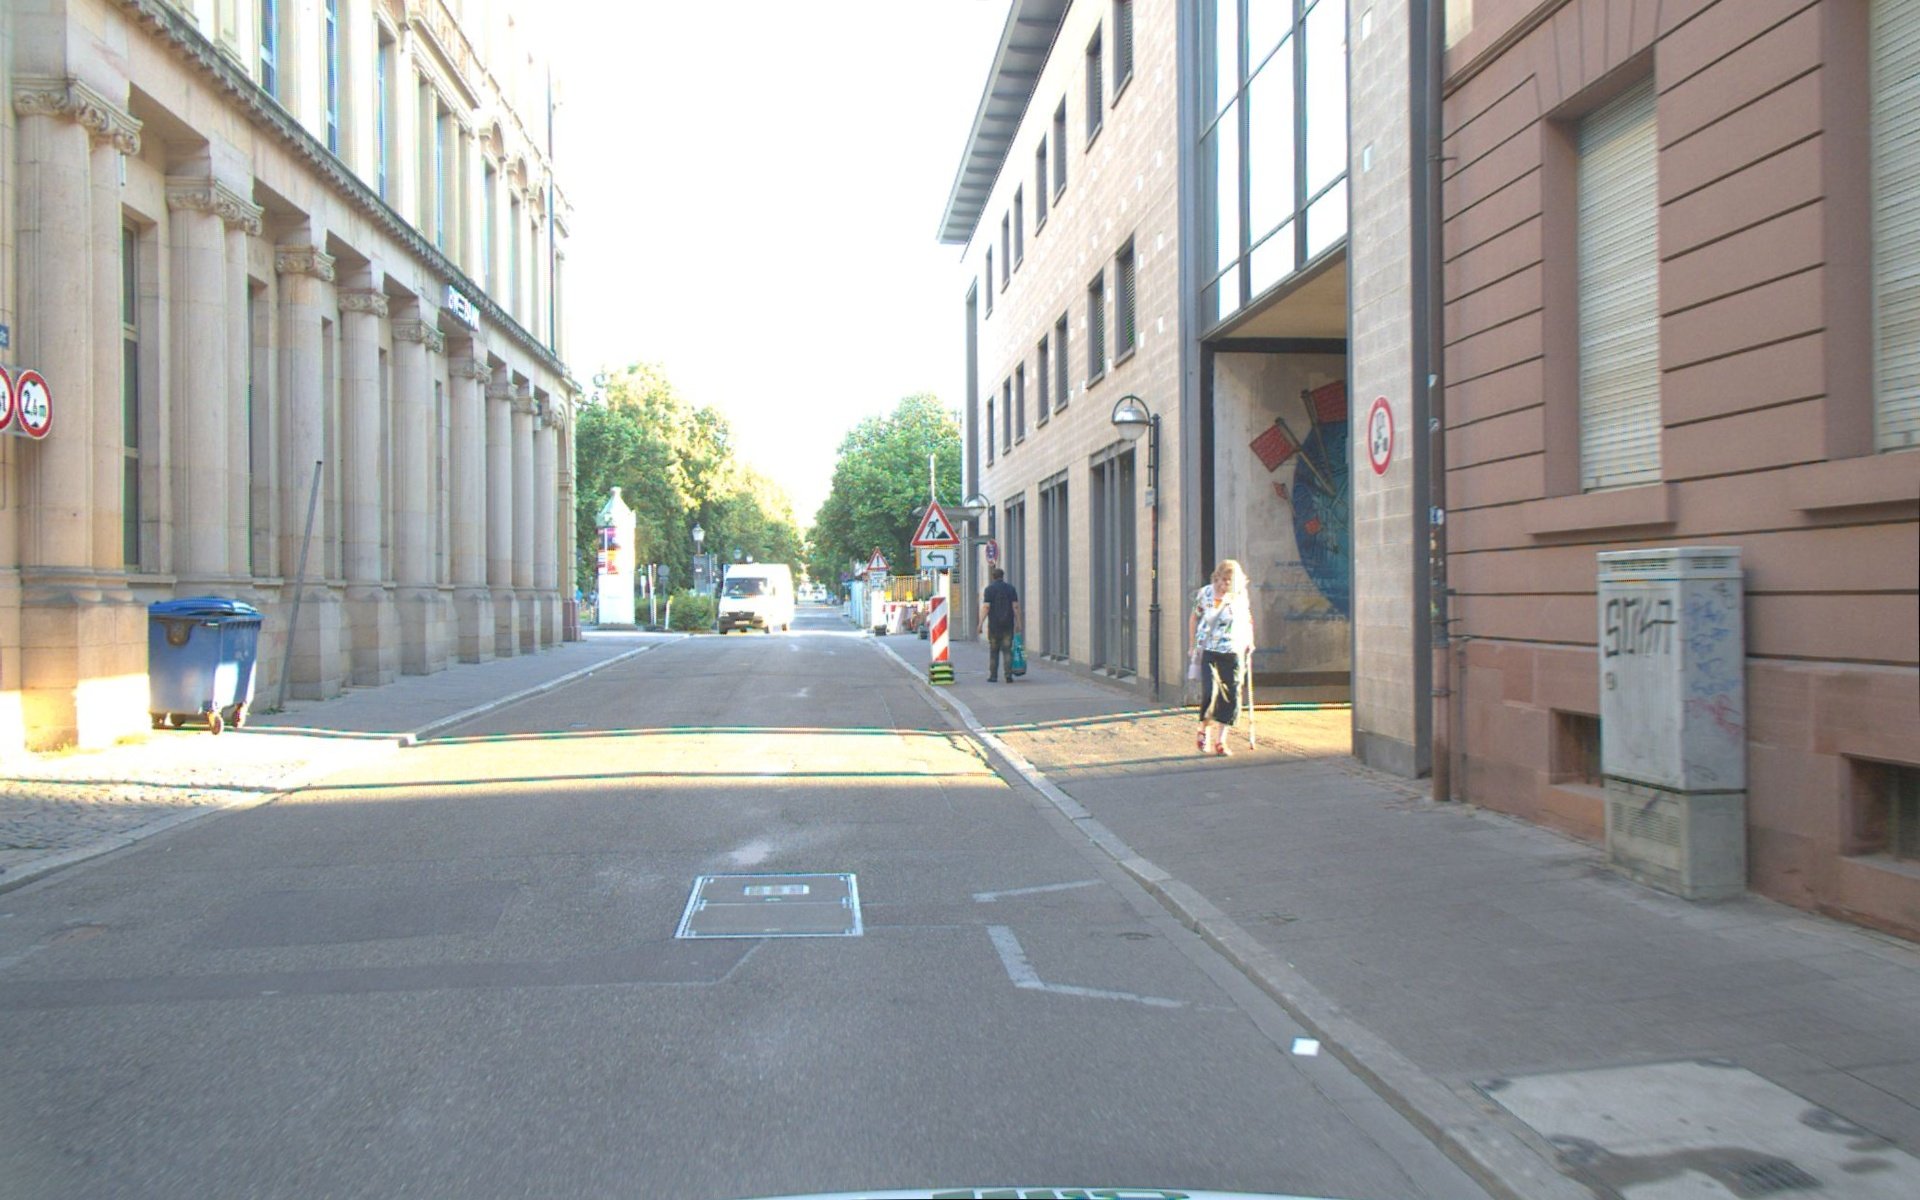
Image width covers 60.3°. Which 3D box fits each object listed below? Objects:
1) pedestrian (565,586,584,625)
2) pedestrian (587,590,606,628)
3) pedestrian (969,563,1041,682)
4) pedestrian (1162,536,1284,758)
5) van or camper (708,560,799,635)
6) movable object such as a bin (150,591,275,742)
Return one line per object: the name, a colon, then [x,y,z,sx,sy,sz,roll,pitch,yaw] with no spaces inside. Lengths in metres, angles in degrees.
pedestrian: [-18.368,0.274,78.879,0.836,1.839,0.660,0,0,-19]
pedestrian: [-17.423,0.435,79.275,0.836,1.839,0.660,0,0,-19]
pedestrian: [0.711,0.347,26.362,0.981,1.835,0.880,-2,-1,-6]
pedestrian: [2.287,0.395,14.476,0.828,1.834,0.897,-3,0,-1]
van or camper: [-7.597,-0.103,61.462,2.172,2.630,6.375,0,0,4]
movable object such as a bin: [-7.884,0.669,17.503,0.812,1.529,1.290,0,0,-4]
